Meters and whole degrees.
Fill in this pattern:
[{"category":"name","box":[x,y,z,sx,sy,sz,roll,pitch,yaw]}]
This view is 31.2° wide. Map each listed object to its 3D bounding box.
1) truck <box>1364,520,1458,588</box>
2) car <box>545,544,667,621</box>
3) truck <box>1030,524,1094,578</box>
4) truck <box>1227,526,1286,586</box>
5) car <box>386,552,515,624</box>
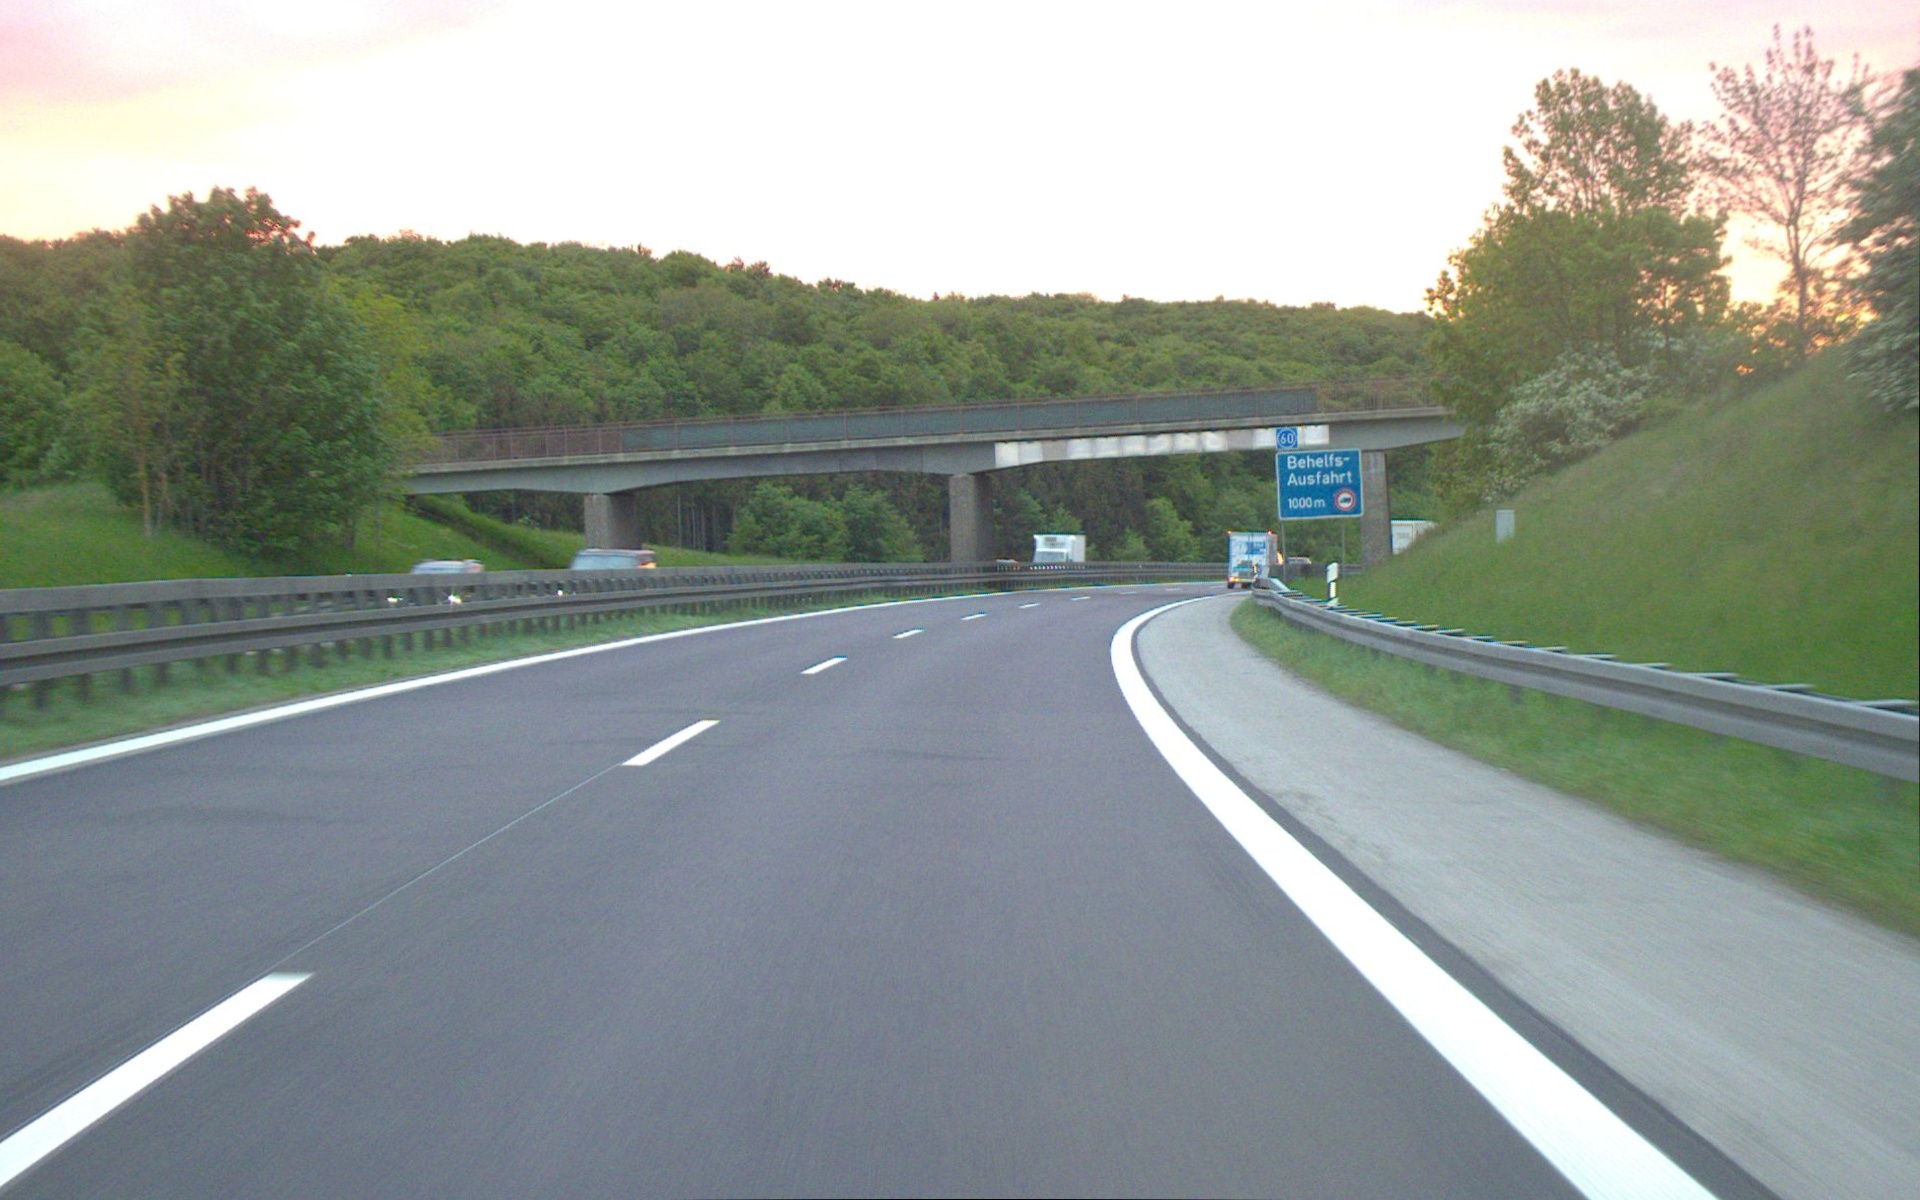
[{"category":"truck","box":[29.832,-3.035,226.584,3.961,4.272,14.312,0,1,16]},{"category":"car","box":[-8.866,-0.456,86.562,2.103,1.865,5.131,0,1,5]},{"category":"truck","box":[6.043,-2.915,203.107,2.613,3.099,6.665,1,1,11]},{"category":"truck","box":[13.930,-2.076,161.121,2.277,2.656,5.234,-1,2,10]},{"category":"car","box":[-12.257,-0.310,82.966,2.025,1.654,4.670,0,1,5]}]
